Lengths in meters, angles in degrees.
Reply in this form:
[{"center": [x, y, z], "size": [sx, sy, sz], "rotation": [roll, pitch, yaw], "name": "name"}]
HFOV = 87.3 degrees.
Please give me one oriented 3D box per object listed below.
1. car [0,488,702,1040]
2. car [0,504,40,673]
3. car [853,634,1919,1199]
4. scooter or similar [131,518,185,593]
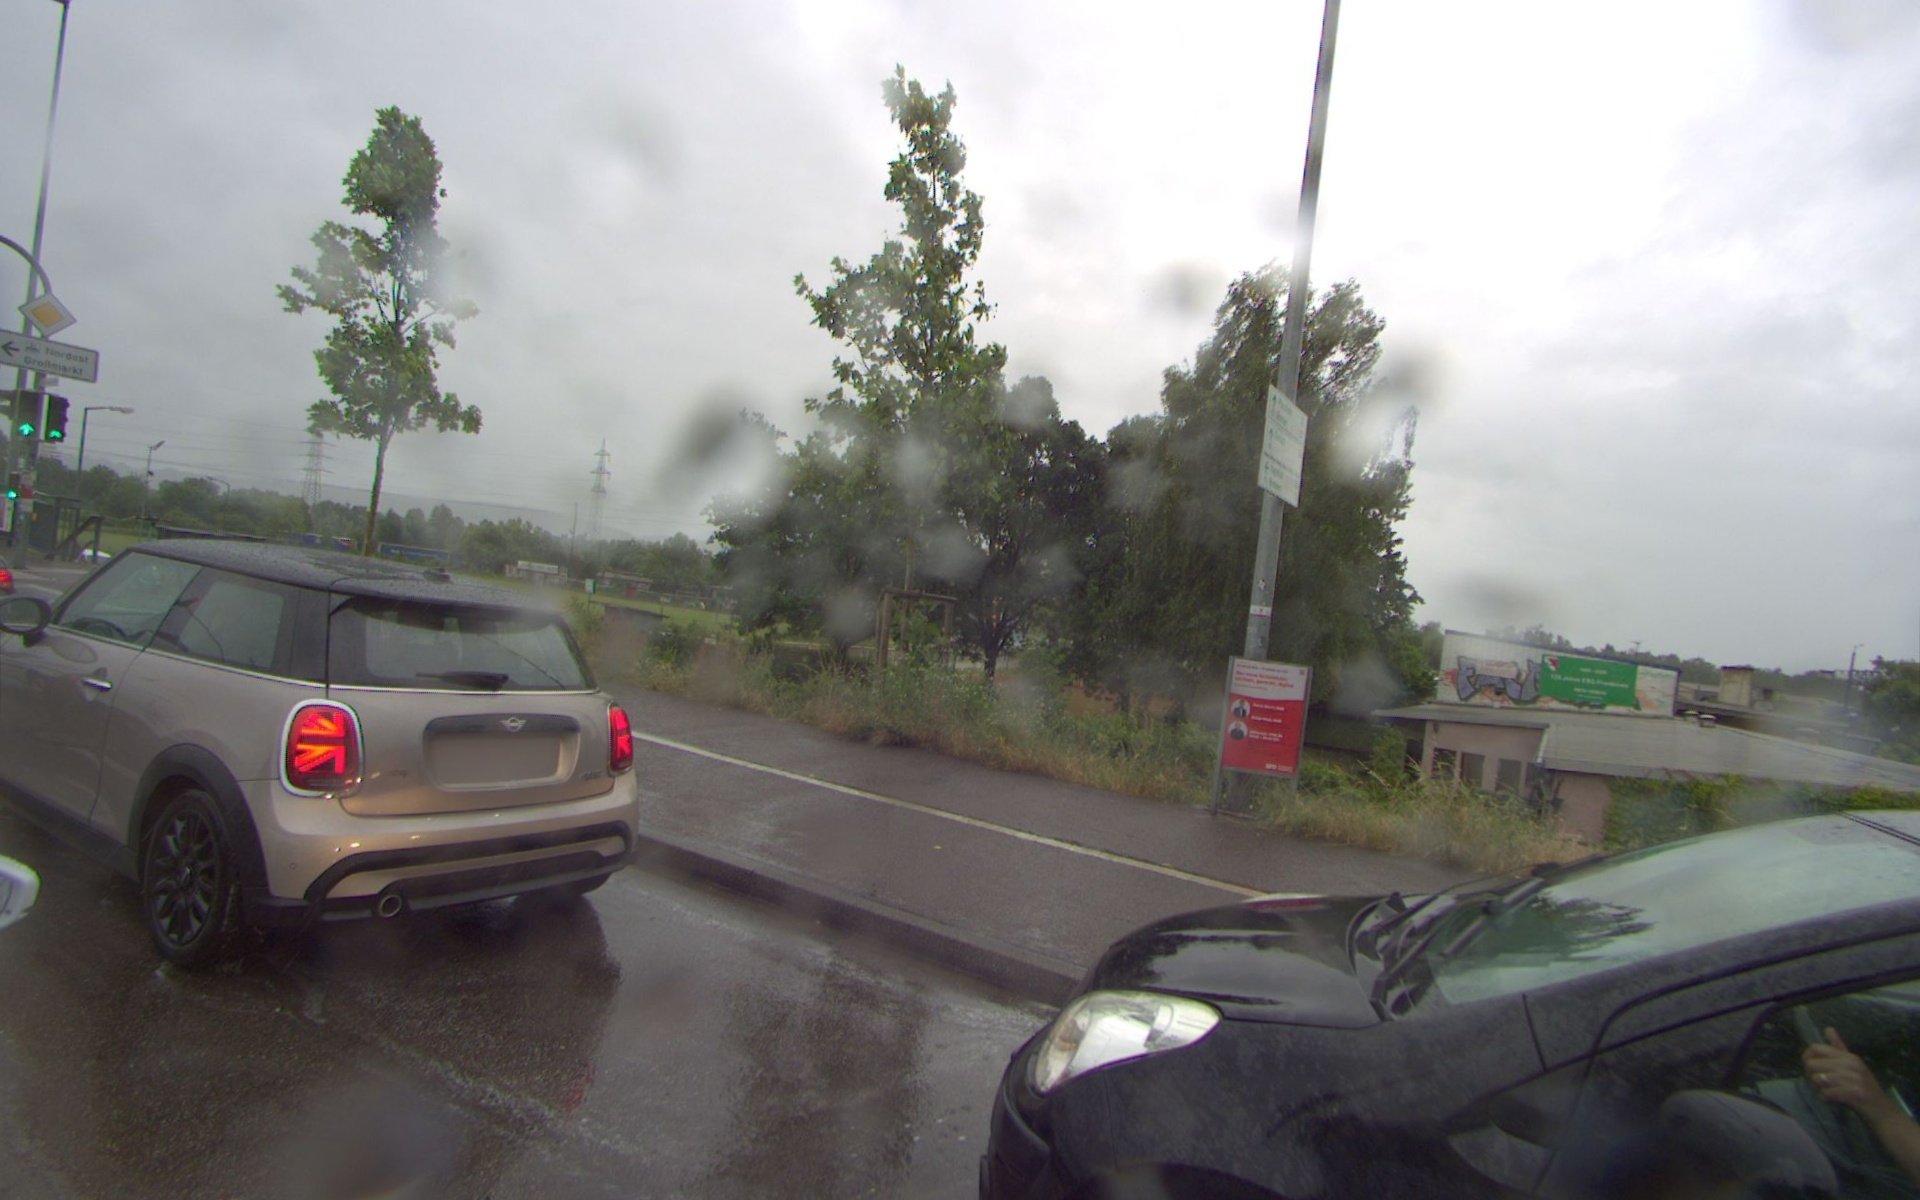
[{"center": [-3.176, 0.432, 4.597], "size": [3.563, 1.525, 1.717], "rotation": [7, -2, 31], "name": "car"}, {"center": [-9.615, -0.324, 8.520], "size": [3.563, 1.360, 1.632], "rotation": [6, -2, 31], "name": "car"}, {"center": [1.766, 1.055, 1.683], "size": [3.563, 1.445, 1.632], "rotation": [7, -1, 31], "name": "car"}, {"center": [-13.538, -0.761, 16.968], "size": [1.167, 1.171, 0.246], "rotation": [6, -1, 33], "name": "scooter or similar"}]
